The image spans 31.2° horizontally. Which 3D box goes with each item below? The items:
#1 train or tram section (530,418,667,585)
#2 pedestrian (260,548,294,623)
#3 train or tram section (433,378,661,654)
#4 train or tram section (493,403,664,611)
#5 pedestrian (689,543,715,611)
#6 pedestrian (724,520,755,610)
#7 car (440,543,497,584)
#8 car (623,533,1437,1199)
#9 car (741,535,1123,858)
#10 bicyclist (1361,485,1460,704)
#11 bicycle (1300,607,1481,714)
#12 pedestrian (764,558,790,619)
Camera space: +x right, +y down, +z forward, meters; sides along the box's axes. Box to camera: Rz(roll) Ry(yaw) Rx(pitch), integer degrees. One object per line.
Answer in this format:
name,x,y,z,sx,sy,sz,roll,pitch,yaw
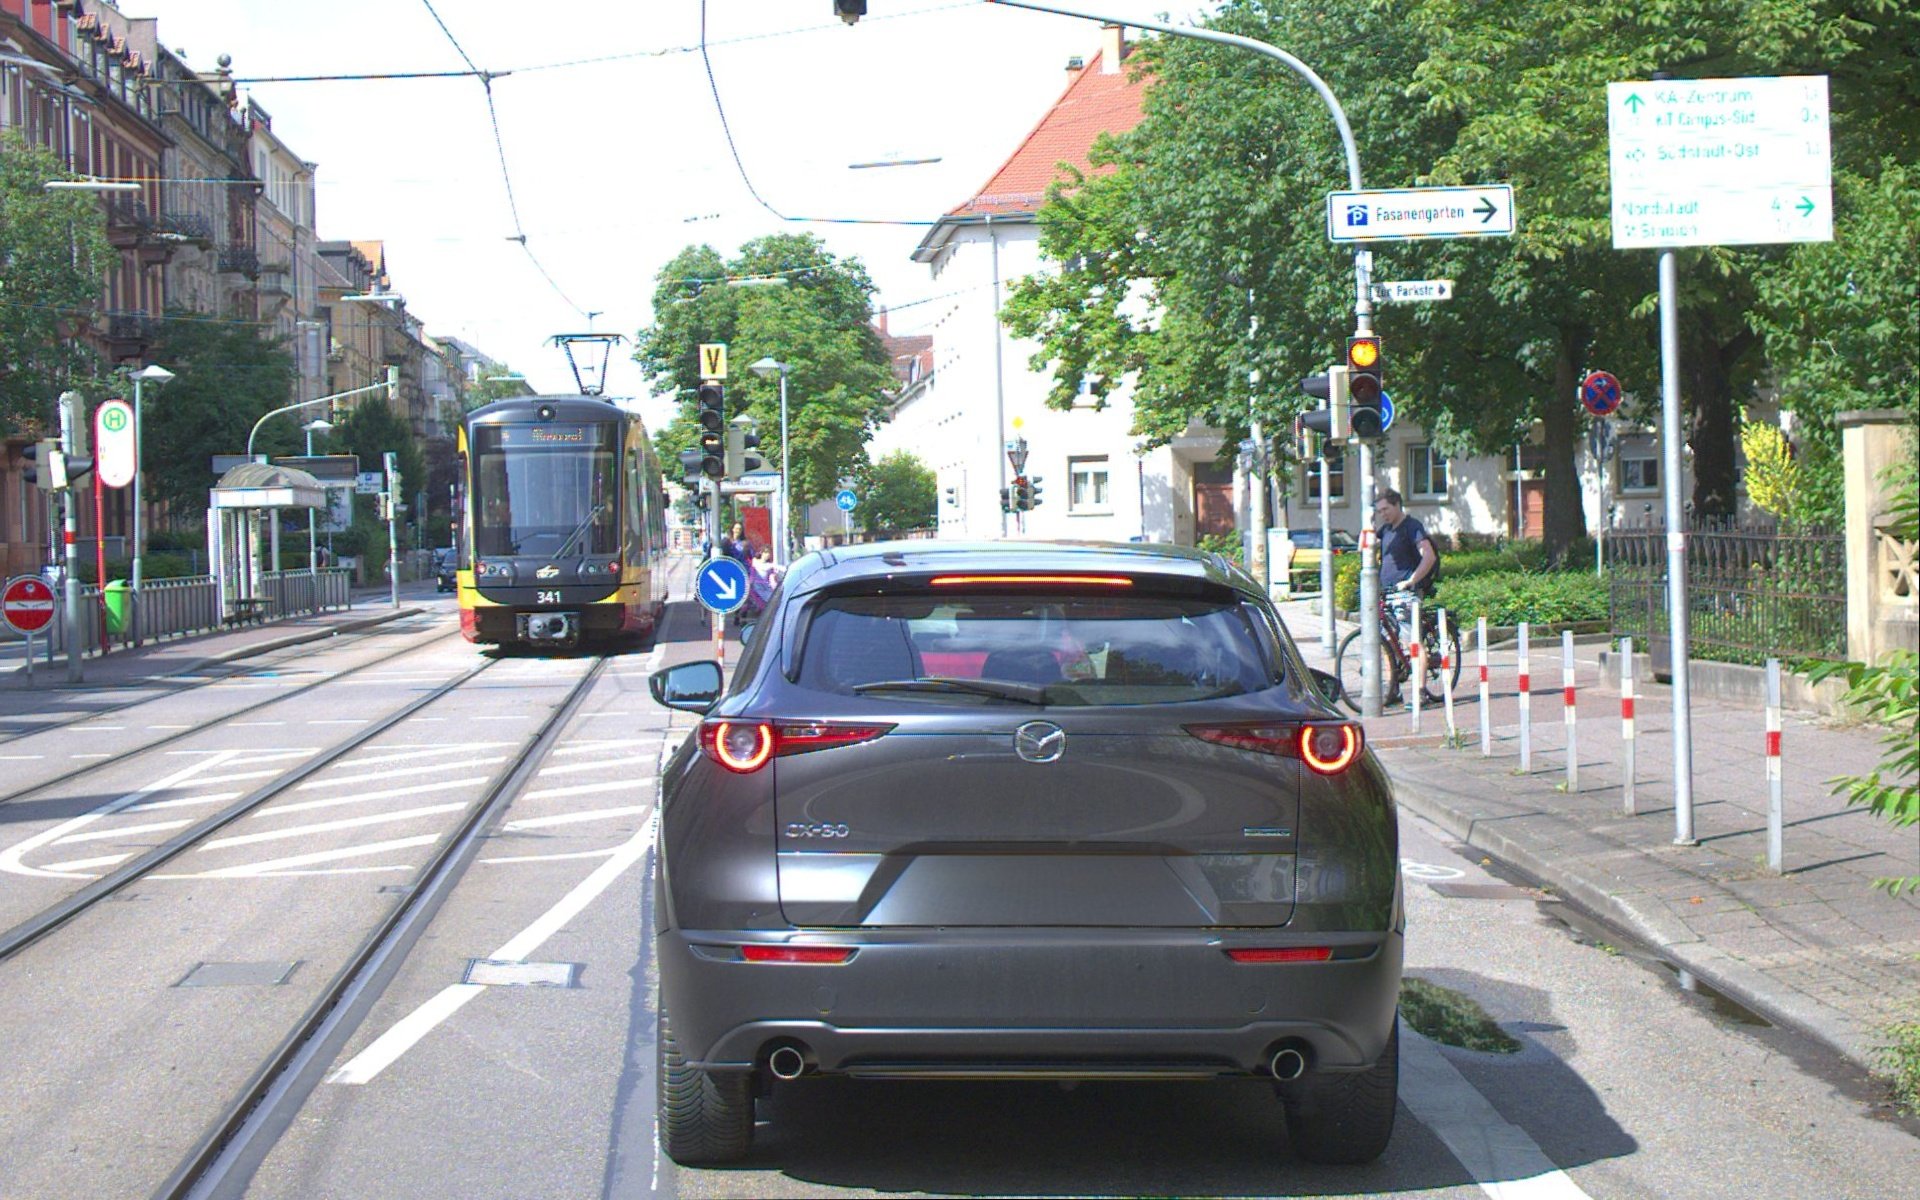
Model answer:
train or tram section,-8.273,-2.344,80.089,2.752,3.478,14.411,-1,2,-5
pedestrian,-12.810,-0.274,64.478,0.429,1.394,0.398,-1,1,30
train or tram section,-5.926,-1.335,51.373,2.752,3.478,14.411,-1,2,-5
train or tram section,-7.105,-1.837,65.734,2.752,3.478,14.411,-1,2,-5
pedestrian,-4.146,-0.371,55.176,0.379,1.067,0.474,-1,1,-5
pedestrian,-3.563,-0.563,55.443,0.450,1.429,0.474,-1,1,-5
car,-16.668,-1.242,116.684,1.614,1.305,3.628,-1,1,-4
car,0.117,0.573,9.590,1.778,1.494,4.000,1,1,-1
car,-0.169,0.417,18.195,1.778,1.494,4.000,1,1,-1
bicyclist,3.740,-0.053,28.566,0.608,1.786,0.658,-1,1,-10
bicycle,3.615,0.498,28.802,1.694,0.821,0.494,-2,1,-42
pedestrian,-2.963,-0.190,55.521,0.379,0.981,0.474,-1,1,-5
